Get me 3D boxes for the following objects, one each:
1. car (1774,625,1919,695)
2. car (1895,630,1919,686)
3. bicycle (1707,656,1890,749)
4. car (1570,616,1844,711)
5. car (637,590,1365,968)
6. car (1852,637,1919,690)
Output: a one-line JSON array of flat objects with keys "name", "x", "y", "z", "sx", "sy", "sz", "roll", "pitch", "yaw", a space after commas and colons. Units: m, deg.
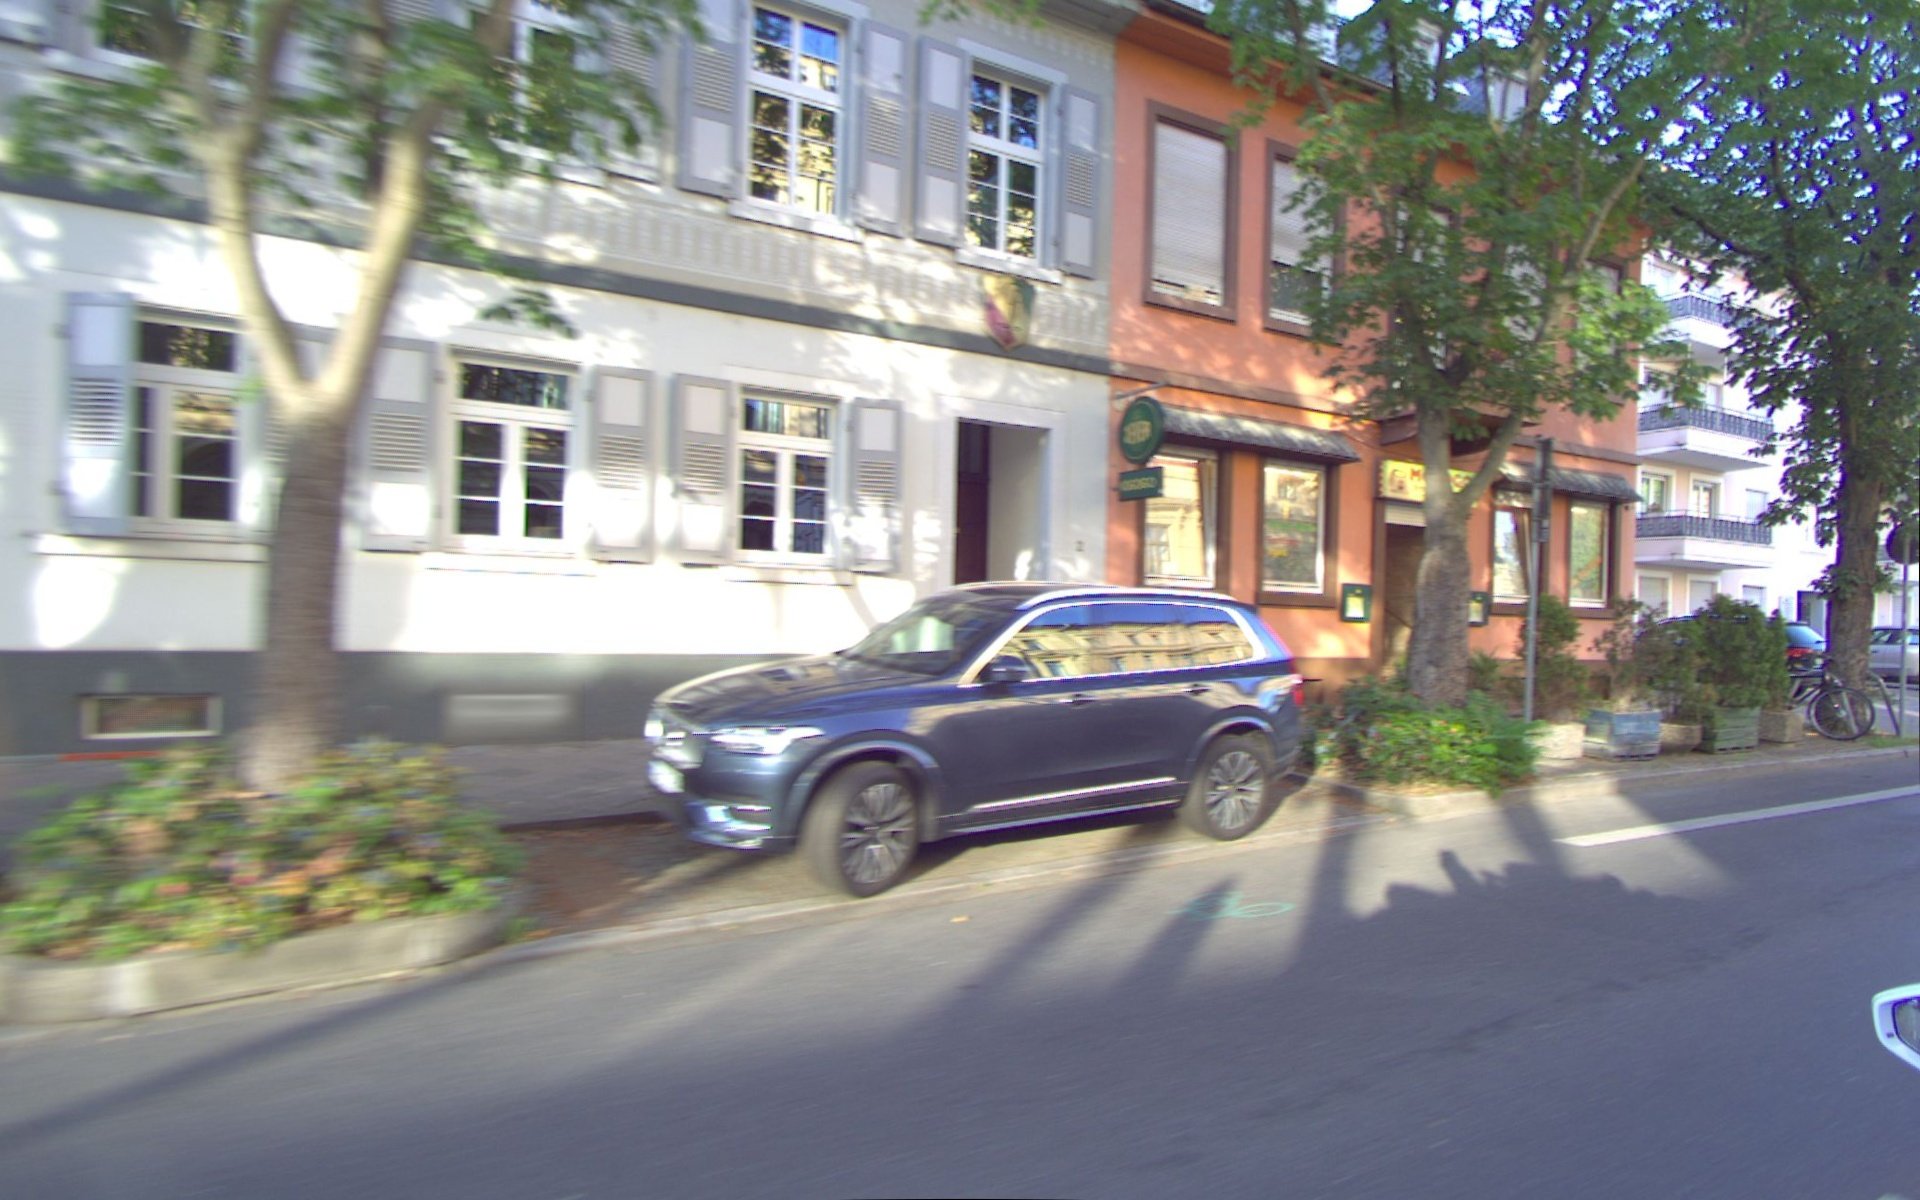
[{"name": "car", "x": 24.639, "y": 1.580, "z": 26.581, "sx": 1.892, "sy": 1.626, "sz": 4.399, "roll": 1, "pitch": 1, "yaw": -28}, {"name": "car", "x": 30.867, "y": 1.839, "z": 29.624, "sx": 1.918, "sy": 1.663, "sz": 4.421, "roll": 1, "pitch": 1, "yaw": -28}, {"name": "bicycle", "x": 11.605, "y": 1.381, "z": 13.970, "sx": 0.604, "sy": 1.119, "sz": 1.855, "roll": 2, "pitch": -1, "yaw": -33}, {"name": "car", "x": 16.046, "y": 1.279, "z": 21.855, "sx": 1.841, "sy": 1.687, "sz": 4.399, "roll": 1, "pitch": 1, "yaw": -28}, {"name": "car", "x": 0.514, "y": 0.949, "z": 7.122, "sx": 4.997, "sy": 1.783, "sz": 1.816, "roll": 2, "pitch": 3, "yaw": -34}, {"name": "car", "x": 28.392, "y": 1.885, "z": 28.528, "sx": 1.714, "sy": 1.399, "sz": 4.248, "roll": 1, "pitch": 1, "yaw": -28}]
